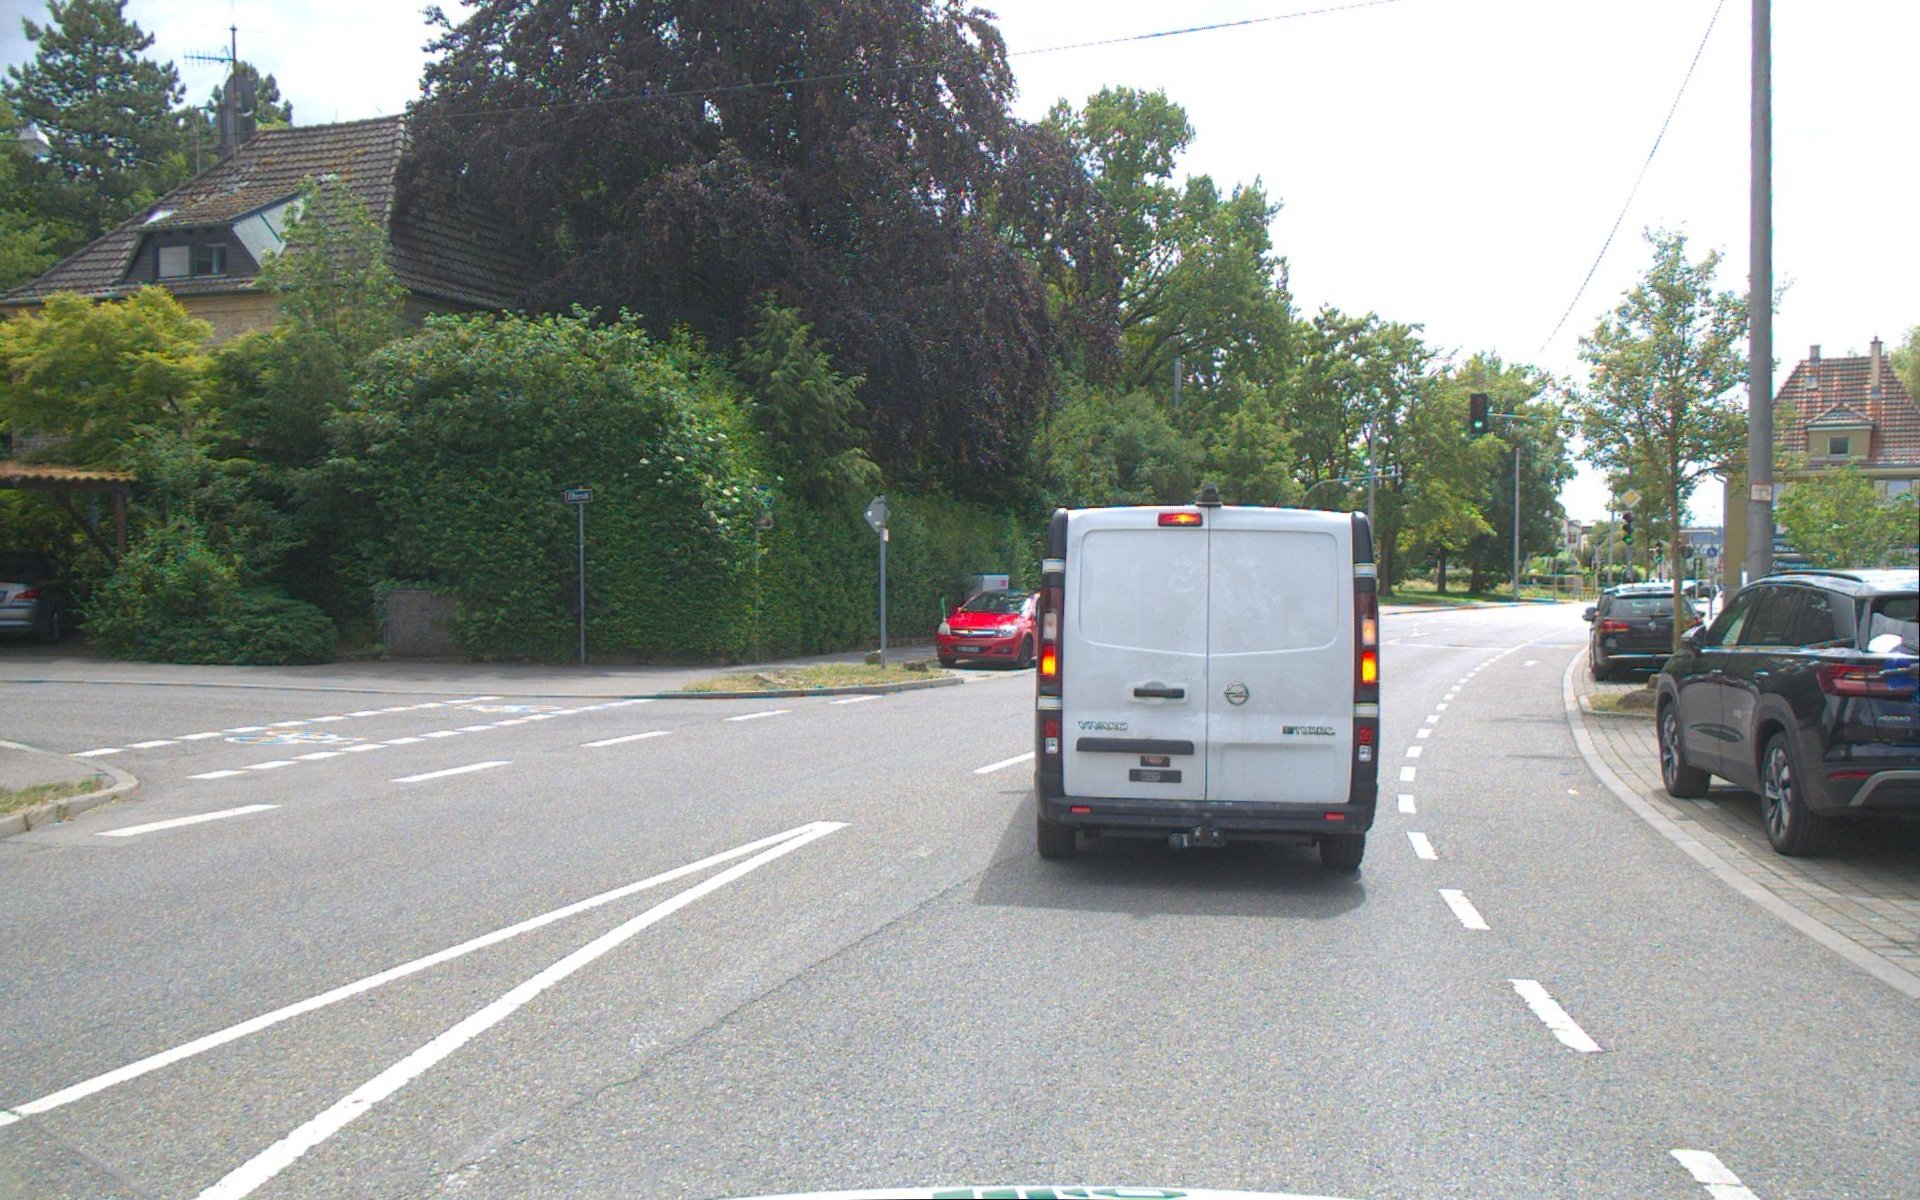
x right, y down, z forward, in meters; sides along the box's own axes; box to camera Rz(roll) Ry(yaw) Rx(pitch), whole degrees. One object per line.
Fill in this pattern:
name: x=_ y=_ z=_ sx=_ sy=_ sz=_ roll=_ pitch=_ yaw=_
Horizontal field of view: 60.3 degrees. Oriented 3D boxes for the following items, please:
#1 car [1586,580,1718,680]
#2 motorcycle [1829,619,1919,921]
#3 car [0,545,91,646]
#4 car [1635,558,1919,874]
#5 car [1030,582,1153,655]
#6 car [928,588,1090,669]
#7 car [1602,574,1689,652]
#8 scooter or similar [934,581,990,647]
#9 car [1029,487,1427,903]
car: x=11.781 y=0.464 z=28.411 sx=1.728 sy=1.503 sz=4.937 roll=-3 pitch=0 yaw=19
motorcycle: x=4.816 y=0.767 z=7.280 sx=1.048 sy=1.328 sz=2.262 roll=-2 pitch=0 yaw=9
car: x=-15.343 y=-0.127 z=26.858 sx=1.698 sy=1.536 sz=3.975 roll=0 pitch=1 yaw=-21
car: x=5.940 y=0.577 z=10.908 sx=1.838 sy=1.650 sz=4.851 roll=-1 pitch=0 yaw=11
car: x=2.965 y=0.373 z=36.642 sx=1.615 sy=1.476 sz=4.105 roll=2 pitch=1 yaw=21
car: x=1.026 y=0.484 z=31.703 sx=1.626 sy=1.402 sz=4.566 roll=2 pitch=1 yaw=21
car: x=15.805 y=0.276 z=38.270 sx=1.701 sy=1.644 sz=4.386 roll=-2 pitch=0 yaw=21
scooter or similar: x=0.052 y=0.299 z=37.410 sx=0.657 sy=1.436 sz=1.649 roll=1 pitch=1 yaw=23
car: x=1.634 y=0.408 z=10.593 sx=1.897 sy=1.994 sz=4.837 roll=2 pitch=1 yaw=8
